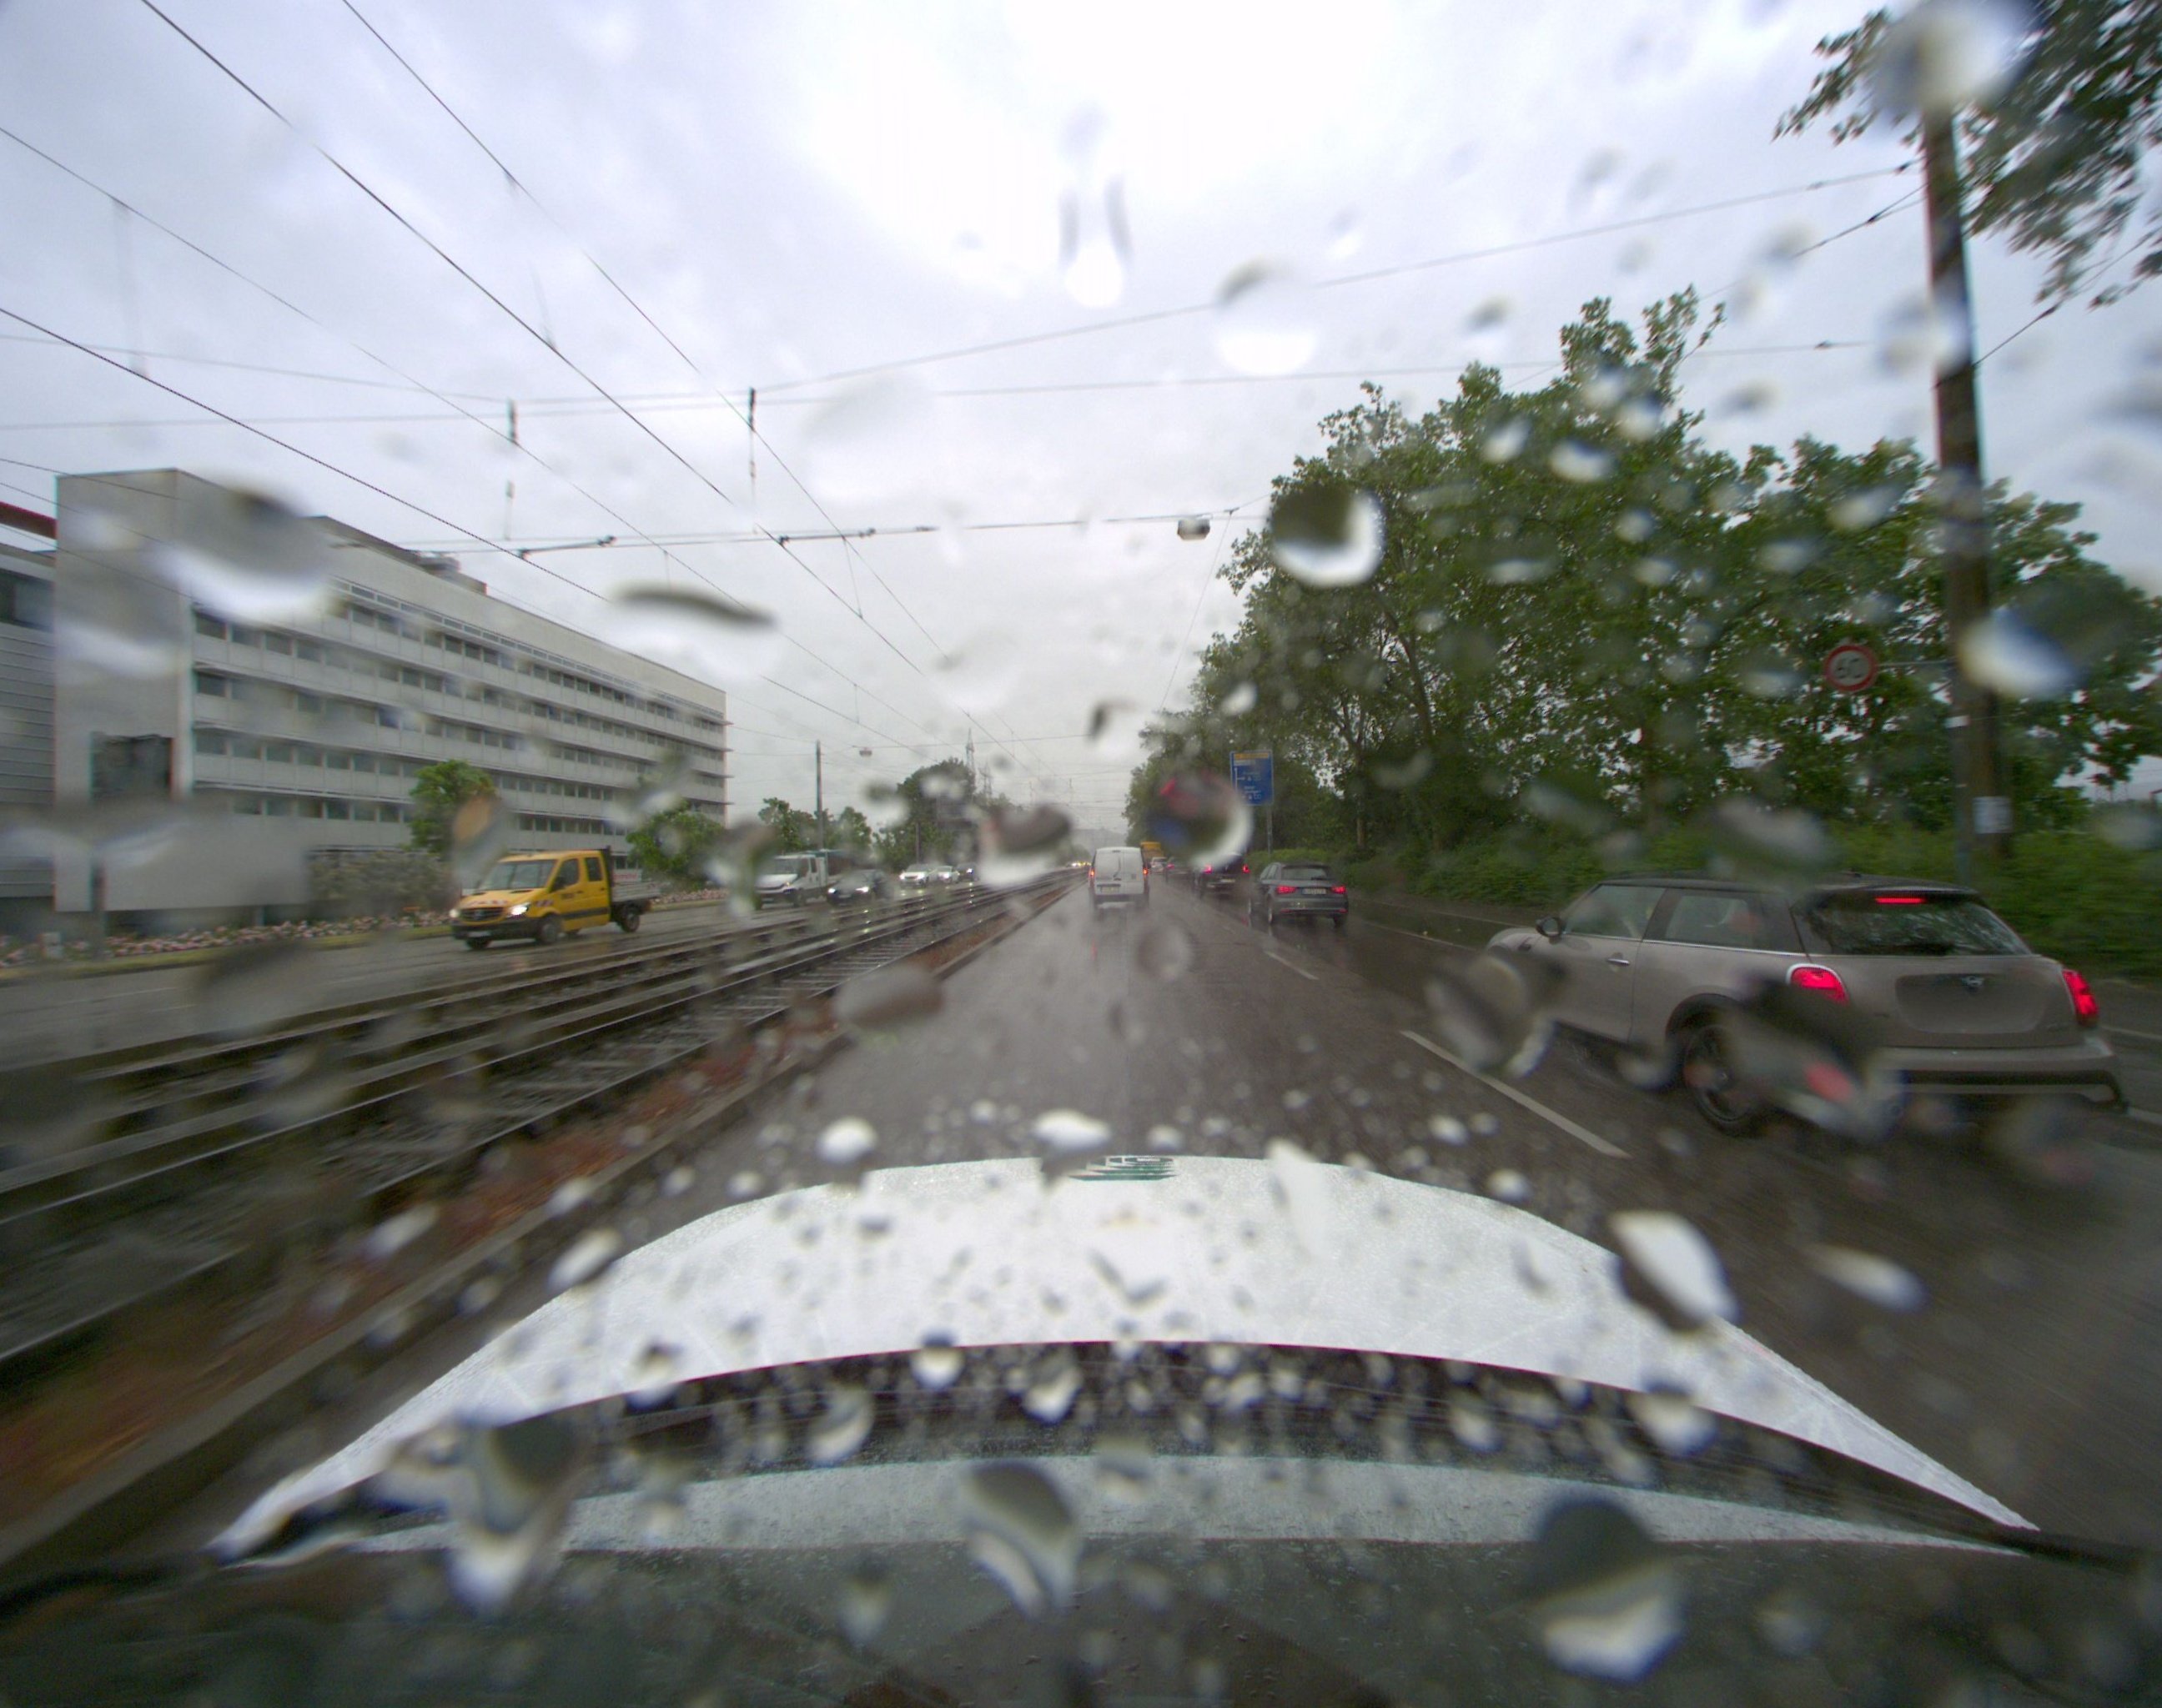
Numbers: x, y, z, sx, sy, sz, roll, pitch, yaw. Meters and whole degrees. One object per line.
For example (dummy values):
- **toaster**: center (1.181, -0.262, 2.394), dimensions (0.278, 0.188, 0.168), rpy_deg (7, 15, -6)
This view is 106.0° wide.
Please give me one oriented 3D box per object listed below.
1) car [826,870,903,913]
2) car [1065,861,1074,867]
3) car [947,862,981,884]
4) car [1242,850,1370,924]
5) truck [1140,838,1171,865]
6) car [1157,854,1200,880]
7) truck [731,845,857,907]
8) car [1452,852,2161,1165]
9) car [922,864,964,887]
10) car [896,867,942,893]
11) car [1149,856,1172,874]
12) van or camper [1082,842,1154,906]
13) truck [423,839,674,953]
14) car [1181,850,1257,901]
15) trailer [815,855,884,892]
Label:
- **car**: center (-9.086, 1.530, 34.578), dimensions (1.811, 1.623, 4.539), rpy_deg (-1, -1, 3)
- **car**: center (-3.176, 2.699, 218.284), dimensions (1.984, 1.618, 4.259), rpy_deg (-2, 0, 5)
- **car**: center (-10.257, 1.640, 71.865), dimensions (1.985, 1.721, 4.886), rpy_deg (-2, 0, 3)
- **car**: center (5.053, 0.677, 18.868), dimensions (1.960, 1.528, 3.992), rpy_deg (0, 0, 1)
- **truck**: center (7.965, -0.276, 88.058), dimensions (3.100, 2.773, 6.333), rpy_deg (-1, 0, 3)
- **car**: center (5.602, 0.740, 47.147), dimensions (1.815, 1.414, 3.772), rpy_deg (0, 0, -4)
- **truck**: center (-12.518, 0.910, 36.313), dimensions (2.423, 2.458, 7.229), rpy_deg (1, 0, 5)
- **car**: center (4.337, 0.762, 5.752), dimensions (1.784, 1.414, 3.855), rpy_deg (1, -1, 2)
- **car**: center (-10.615, 1.611, 63.169), dimensions (1.984, 1.583, 4.773), rpy_deg (-3, 0, 5)
- **car**: center (-10.964, 1.730, 55.307), dimensions (1.763, 1.682, 4.696), rpy_deg (1, 0, 5)
- **car**: center (6.545, 0.921, 67.363), dimensions (1.810, 1.414, 3.782), rpy_deg (0, 0, 4)
- **van or camper**: center (1.059, 0.536, 24.632), dimensions (1.987, 1.784, 4.000), rpy_deg (0, 1, 0)
- **truck**: center (-13.610, 0.973, 21.523), dimensions (2.217, 2.461, 6.072), rpy_deg (-4, -1, 4)
- **car**: center (5.002, 0.715, 30.146), dimensions (1.894, 1.717, 4.722), rpy_deg (0, 0, -2)
- **trailer**: center (-11.851, 0.990, 41.989), dimensions (2.109, 1.793, 3.842), rpy_deg (1, 0, 6)
